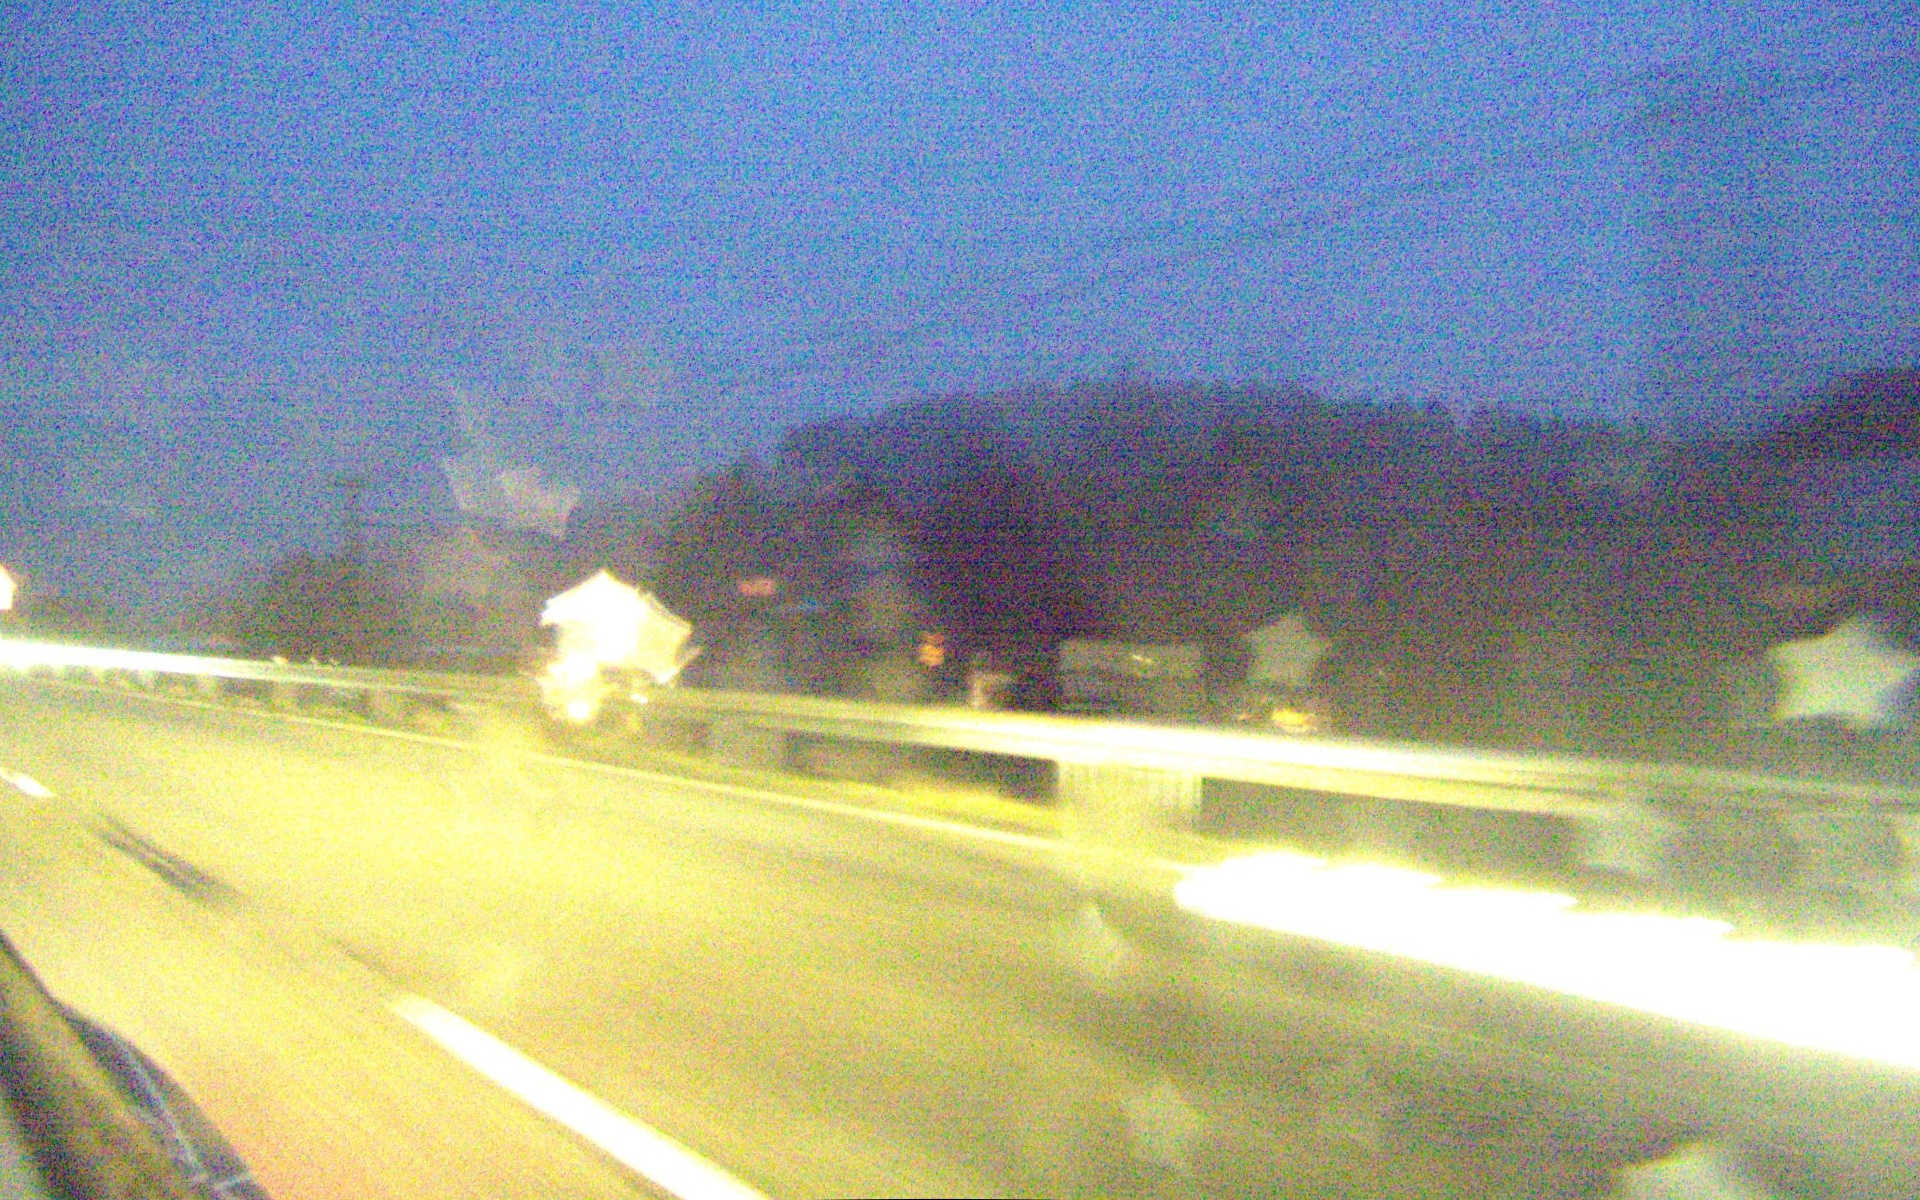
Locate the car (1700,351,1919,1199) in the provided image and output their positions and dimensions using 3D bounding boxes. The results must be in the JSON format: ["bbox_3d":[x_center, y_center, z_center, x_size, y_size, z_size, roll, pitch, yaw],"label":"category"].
[{"bbox_3d":[3.649,0.492,0.907,4.696,1.705,1.973,0,0,41],"label":"car"}]
